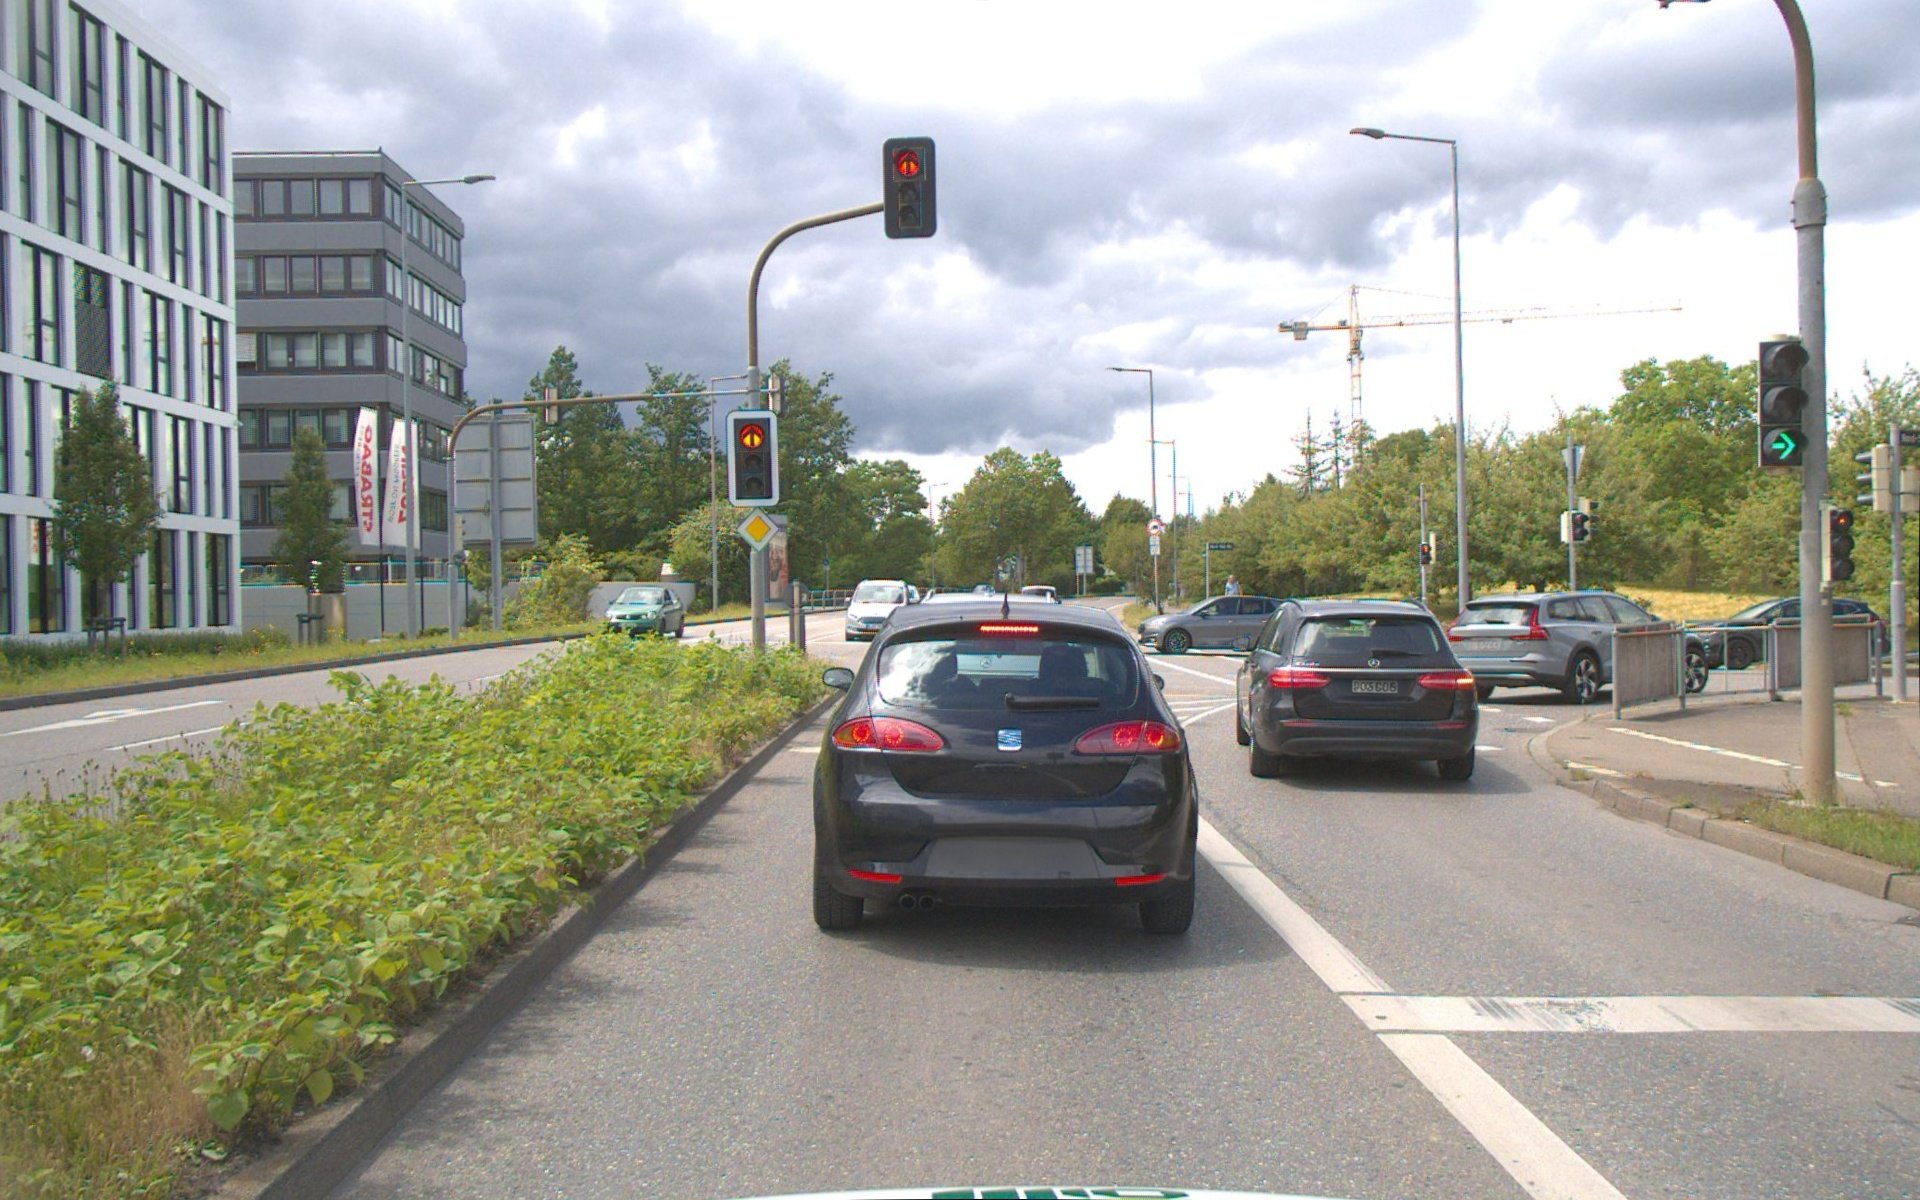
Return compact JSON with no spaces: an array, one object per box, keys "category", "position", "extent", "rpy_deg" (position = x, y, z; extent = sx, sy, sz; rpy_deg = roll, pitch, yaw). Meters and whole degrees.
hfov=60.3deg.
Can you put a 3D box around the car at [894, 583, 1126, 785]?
[{"category":"car","position":[0.318,0.632,14.588],"extent":[1.738,1.517,3.580],"rpy_deg":[-1,0,-3]}]

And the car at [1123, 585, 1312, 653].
[{"category":"car","position":[6.262,0.457,40.542],"extent":[4.219,1.552,1.998],"rpy_deg":[-1,0,-5]}]

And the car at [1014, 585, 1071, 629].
[{"category":"car","position":[3.012,0.222,60.812],"extent":[1.952,1.557,4.001],"rpy_deg":[0,1,1]}]

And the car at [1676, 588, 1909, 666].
[{"category":"car","position":[18.577,0.591,37.067],"extent":[4.214,1.644,2.001],"rpy_deg":[-1,0,3]}]

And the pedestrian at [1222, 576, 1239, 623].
[{"category":"pedestrian","position":[10.222,-0.021,62.526],"extent":[0.547,1.756,0.588],"rpy_deg":[0,0,0]}]

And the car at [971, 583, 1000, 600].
[{"category":"car","position":[2.092,-0.696,135.854],"extent":[1.951,1.375,4.003],"rpy_deg":[0,1,7]}]

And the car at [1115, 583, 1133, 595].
[{"category":"car","position":[18.233,-1.226,183.713],"extent":[1.951,1.375,4.003],"rpy_deg":[0,1,7]}]

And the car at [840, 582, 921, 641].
[{"category":"car","position":[-2.244,0.302,47.643],"extent":[1.952,1.624,4.001],"rpy_deg":[0,1,2]}]

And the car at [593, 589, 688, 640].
[{"category":"car","position":[-9.008,0.372,46.901],"extent":[1.953,1.375,3.999],"rpy_deg":[0,1,-1]}]

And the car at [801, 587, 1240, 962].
[{"category":"car","position":[0.219,0.684,8.368],"extent":[1.737,1.477,3.582],"rpy_deg":[0,0,-1]}]

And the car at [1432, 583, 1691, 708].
[{"category":"car","position":[8.646,0.579,23.565],"extent":[1.837,1.545,4.416],"rpy_deg":[-1,1,44]}]

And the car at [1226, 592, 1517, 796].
[{"category":"car","position":[3.510,0.700,15.052],"extent":[1.833,1.466,5.204],"rpy_deg":[-1,1,6]}]
